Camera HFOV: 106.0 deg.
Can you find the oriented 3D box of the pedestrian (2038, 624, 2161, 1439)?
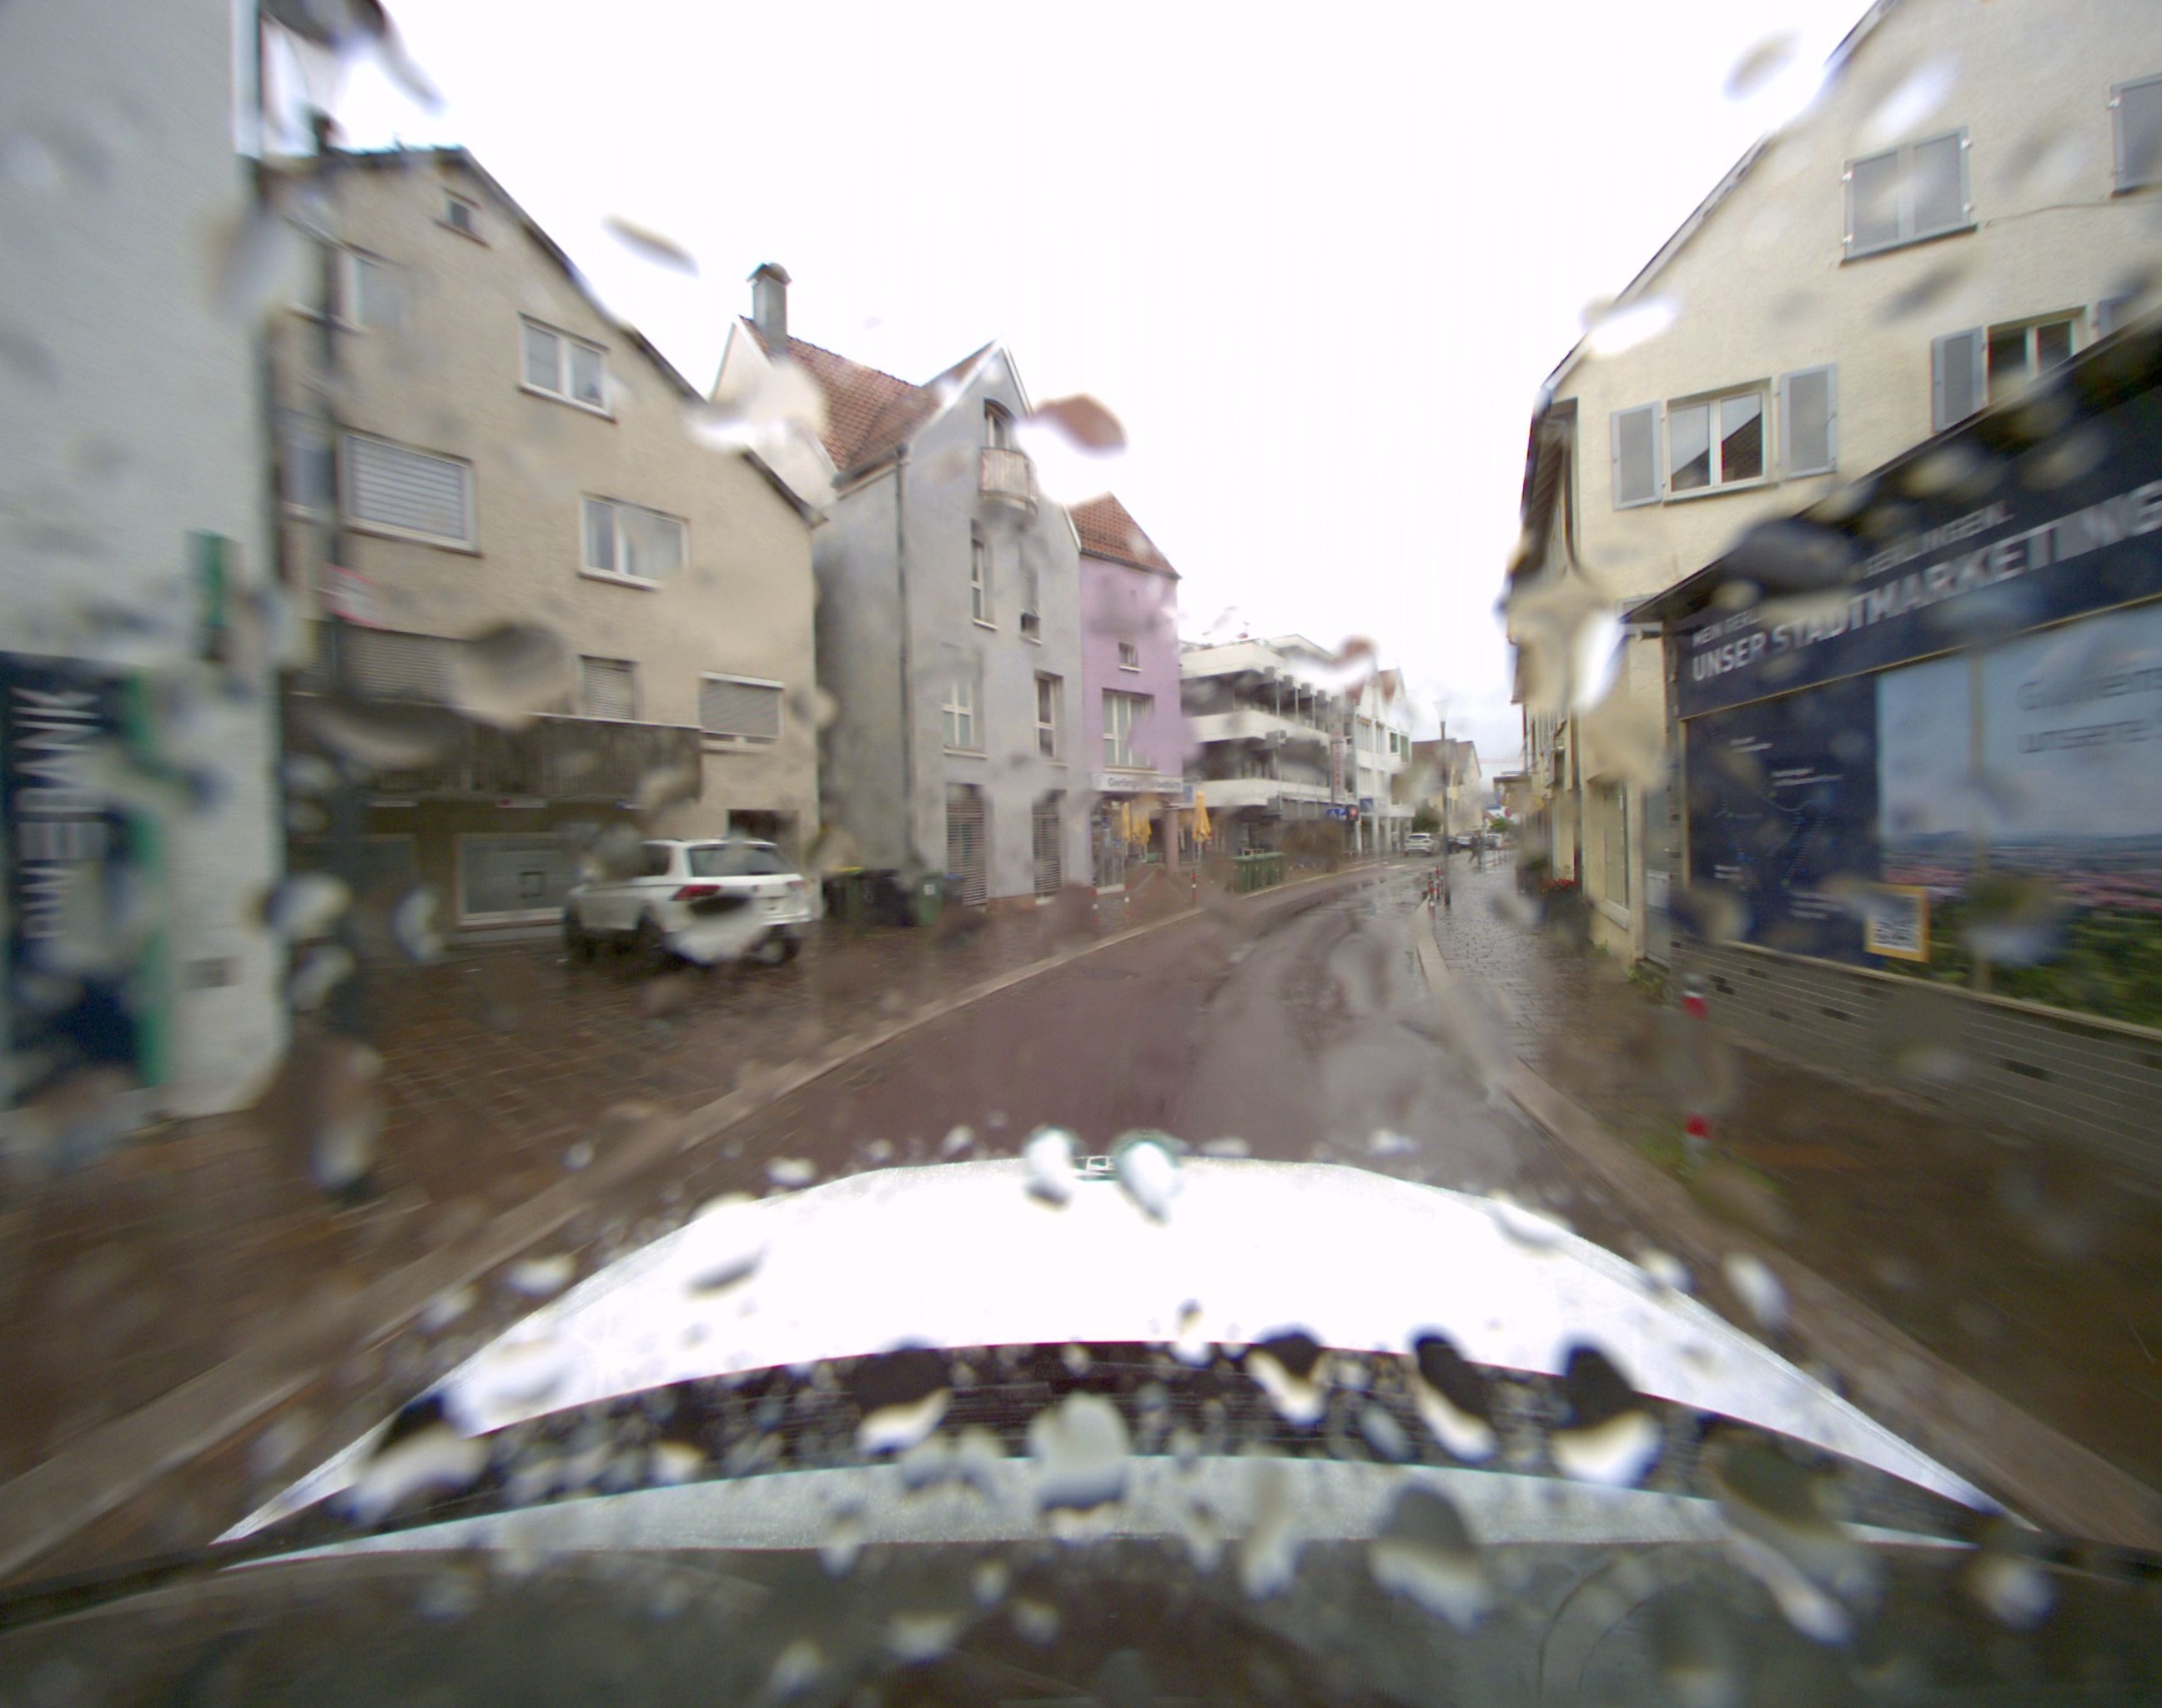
[{"bbox_3d":[2.881,0.414,1.710,0.767,1.904,0.807,-1,-1,8],"label":"pedestrian"}]

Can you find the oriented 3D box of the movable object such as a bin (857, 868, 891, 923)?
[{"bbox_3d":[-4.024,0.793,15.817,0.476,1.028,0.470,0,-1,-45],"label":"movable object such as a bin"}]

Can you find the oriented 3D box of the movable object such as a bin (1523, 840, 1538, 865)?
[{"bbox_3d":[19.526,-0.042,35.359,0.495,1.056,0.552,-3,-2,34],"label":"movable object such as a bin"}]

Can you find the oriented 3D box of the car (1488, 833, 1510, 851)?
[{"bbox_3d":[44.383,-1.272,86.395,1.707,1.825,4.456,-1,-1,32],"label":"car"}]

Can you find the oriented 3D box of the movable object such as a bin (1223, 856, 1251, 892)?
[{"bbox_3d":[4.776,0.600,24.922,0.680,1.078,0.681,-1,1,25],"label":"movable object such as a bin"}]

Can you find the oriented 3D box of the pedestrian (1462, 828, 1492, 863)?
[{"bbox_3d":[20.075,-0.424,41.251,1.166,1.697,1.185,-3,0,31],"label":"pedestrian"}]

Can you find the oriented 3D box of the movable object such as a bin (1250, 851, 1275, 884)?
[{"bbox_3d":[6.263,0.474,28.109,0.680,1.105,0.673,-1,1,25],"label":"movable object such as a bin"}]

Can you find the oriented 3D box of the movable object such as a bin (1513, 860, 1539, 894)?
[{"bbox_3d":[11.984,0.613,21.931,0.541,0.836,0.915,-4,0,29],"label":"movable object such as a bin"}]

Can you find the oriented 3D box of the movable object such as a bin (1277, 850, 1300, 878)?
[{"bbox_3d":[7.908,0.384,31.023,0.680,1.039,0.673,-1,1,25],"label":"movable object such as a bin"}]

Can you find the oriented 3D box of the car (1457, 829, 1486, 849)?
[{"bbox_3d":[33.697,-1.282,70.260,1.762,1.569,4.436,-1,-1,32],"label":"car"}]

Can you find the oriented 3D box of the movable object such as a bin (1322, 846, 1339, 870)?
[{"bbox_3d":[11.039,0.171,36.037,0.681,1.020,0.635,-1,1,17],"label":"movable object such as a bin"}]

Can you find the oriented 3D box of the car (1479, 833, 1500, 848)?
[{"bbox_3d":[40.948,-1.346,81.607,1.665,1.389,3.849,-1,-1,31],"label":"car"}]

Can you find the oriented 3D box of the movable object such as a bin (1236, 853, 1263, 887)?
[{"bbox_3d":[5.469,0.523,26.448,0.680,1.081,0.673,-1,1,25],"label":"movable object such as a bin"}]

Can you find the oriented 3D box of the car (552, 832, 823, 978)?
[{"bbox_3d":[-5.319,0.574,10.804,3.948,1.583,1.844,-1,-1,41],"label":"car"}]

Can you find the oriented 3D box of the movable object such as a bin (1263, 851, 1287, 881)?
[{"bbox_3d":[7.012,0.425,29.444,0.680,1.076,0.673,-1,1,25],"label":"movable object such as a bin"}]

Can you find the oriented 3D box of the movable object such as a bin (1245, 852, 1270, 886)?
[{"bbox_3d":[5.955,0.513,27.450,0.680,1.105,0.673,-1,1,25],"label":"movable object such as a bin"}]

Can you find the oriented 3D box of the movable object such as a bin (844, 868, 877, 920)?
[{"bbox_3d":[-4.406,0.789,16.268,0.476,1.028,0.470,0,-1,-42],"label":"movable object such as a bin"}]

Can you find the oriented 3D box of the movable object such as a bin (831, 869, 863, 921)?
[{"bbox_3d":[-4.795,0.825,16.682,0.476,1.028,0.470,0,-1,-45],"label":"movable object such as a bin"}]

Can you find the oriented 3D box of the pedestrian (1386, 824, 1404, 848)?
[{"bbox_3d":[23.402,-1.330,60.633,1.025,1.806,1.123,0,1,34],"label":"pedestrian"}]

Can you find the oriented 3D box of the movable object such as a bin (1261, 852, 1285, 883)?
[{"bbox_3d":[6.773,0.471,28.656,0.680,1.073,0.673,-1,1,25],"label":"movable object such as a bin"}]

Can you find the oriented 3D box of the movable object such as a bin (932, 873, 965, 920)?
[{"bbox_3d":[-2.587,0.817,15.940,0.455,0.895,0.452,-1,-1,23],"label":"movable object such as a bin"}]

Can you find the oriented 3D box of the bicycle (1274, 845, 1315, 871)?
[{"bbox_3d":[9.506,0.180,36.315,1.733,1.164,0.446,-1,-1,14],"label":"bicycle"}]

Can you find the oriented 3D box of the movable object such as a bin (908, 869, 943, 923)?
[{"bbox_3d":[-2.932,0.774,15.355,0.573,0.989,0.485,0,-1,-21],"label":"movable object such as a bin"}]

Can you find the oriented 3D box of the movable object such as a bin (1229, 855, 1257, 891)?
[{"bbox_3d":[5.098,0.581,25.604,0.680,1.087,0.717,-1,1,25],"label":"movable object such as a bin"}]

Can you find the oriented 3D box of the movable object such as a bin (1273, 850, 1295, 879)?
[{"bbox_3d":[7.570,0.392,30.365,0.680,1.042,0.673,-1,1,25],"label":"movable object such as a bin"}]

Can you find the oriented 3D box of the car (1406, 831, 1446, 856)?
[{"bbox_3d":[23.237,-0.678,54.736,1.774,1.551,4.025,0,0,34],"label":"car"}]

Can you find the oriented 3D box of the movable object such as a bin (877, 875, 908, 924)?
[{"bbox_3d":[-3.594,0.854,15.536,0.431,0.915,0.389,-1,-1,44],"label":"movable object such as a bin"}]

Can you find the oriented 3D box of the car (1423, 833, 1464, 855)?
[{"bbox_3d":[26.644,-0.757,59.776,1.812,1.498,4.794,-2,0,35],"label":"car"}]
